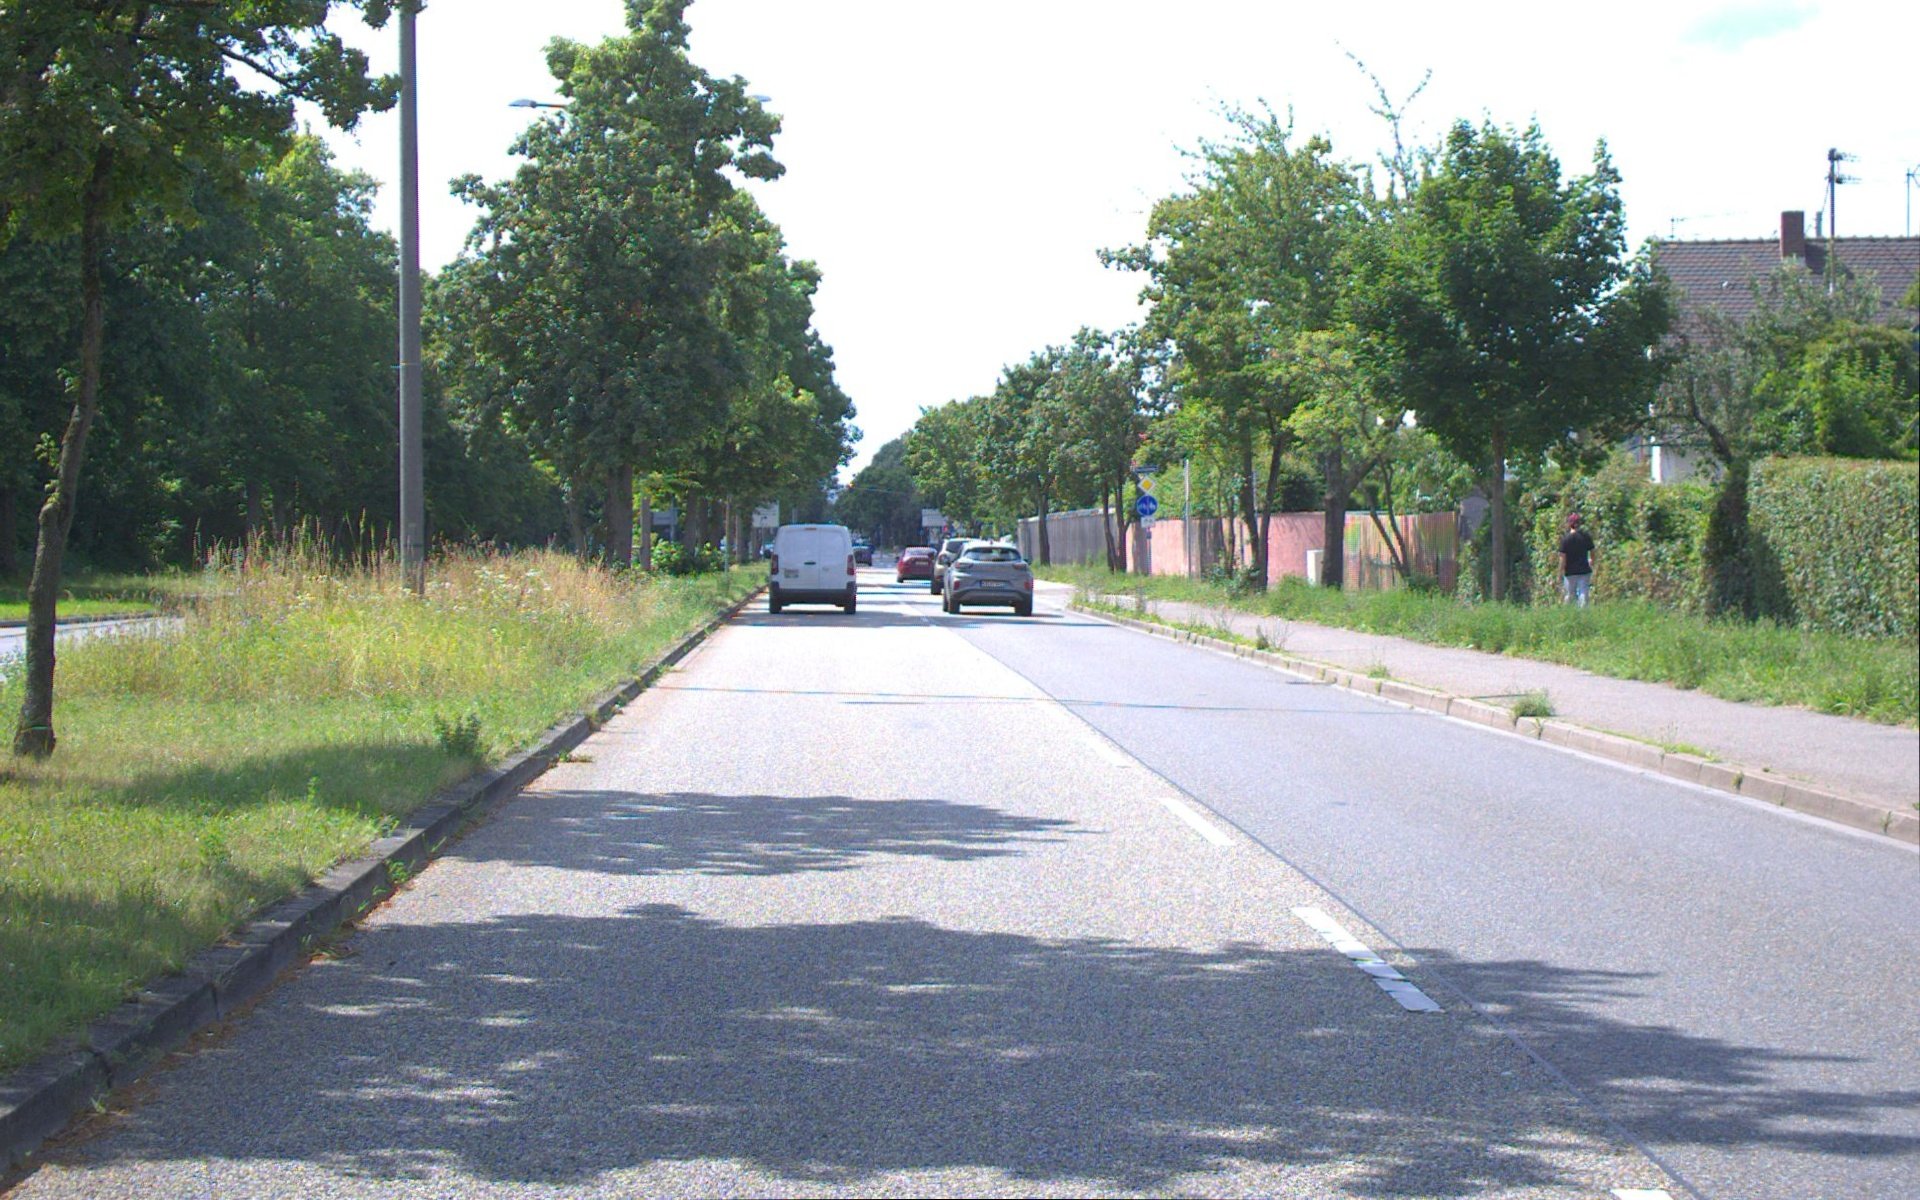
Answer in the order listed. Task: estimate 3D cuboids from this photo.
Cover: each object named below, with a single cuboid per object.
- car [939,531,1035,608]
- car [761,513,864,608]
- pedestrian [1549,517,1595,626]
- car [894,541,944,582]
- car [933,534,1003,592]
[{"bbox_3d":[0.548,-0.657,73.204,1.875,1.583,4.185,0,1,-2],"label":"car"},{"bbox_3d":[-3.056,-0.843,71.548,2.065,1.905,4.647,0,1,-2],"label":"car"},{"bbox_3d":[9.397,-0.443,52.835,0.560,1.671,0.634,0,1,-2],"label":"pedestrian"},{"bbox_3d":[-1.645,-1.530,136.464,1.880,1.581,4.001,0,1,-2],"label":"car"},{"bbox_3d":[0.201,-1.078,98.772,1.875,1.646,4.000,0,1,-2],"label":"car"}]
